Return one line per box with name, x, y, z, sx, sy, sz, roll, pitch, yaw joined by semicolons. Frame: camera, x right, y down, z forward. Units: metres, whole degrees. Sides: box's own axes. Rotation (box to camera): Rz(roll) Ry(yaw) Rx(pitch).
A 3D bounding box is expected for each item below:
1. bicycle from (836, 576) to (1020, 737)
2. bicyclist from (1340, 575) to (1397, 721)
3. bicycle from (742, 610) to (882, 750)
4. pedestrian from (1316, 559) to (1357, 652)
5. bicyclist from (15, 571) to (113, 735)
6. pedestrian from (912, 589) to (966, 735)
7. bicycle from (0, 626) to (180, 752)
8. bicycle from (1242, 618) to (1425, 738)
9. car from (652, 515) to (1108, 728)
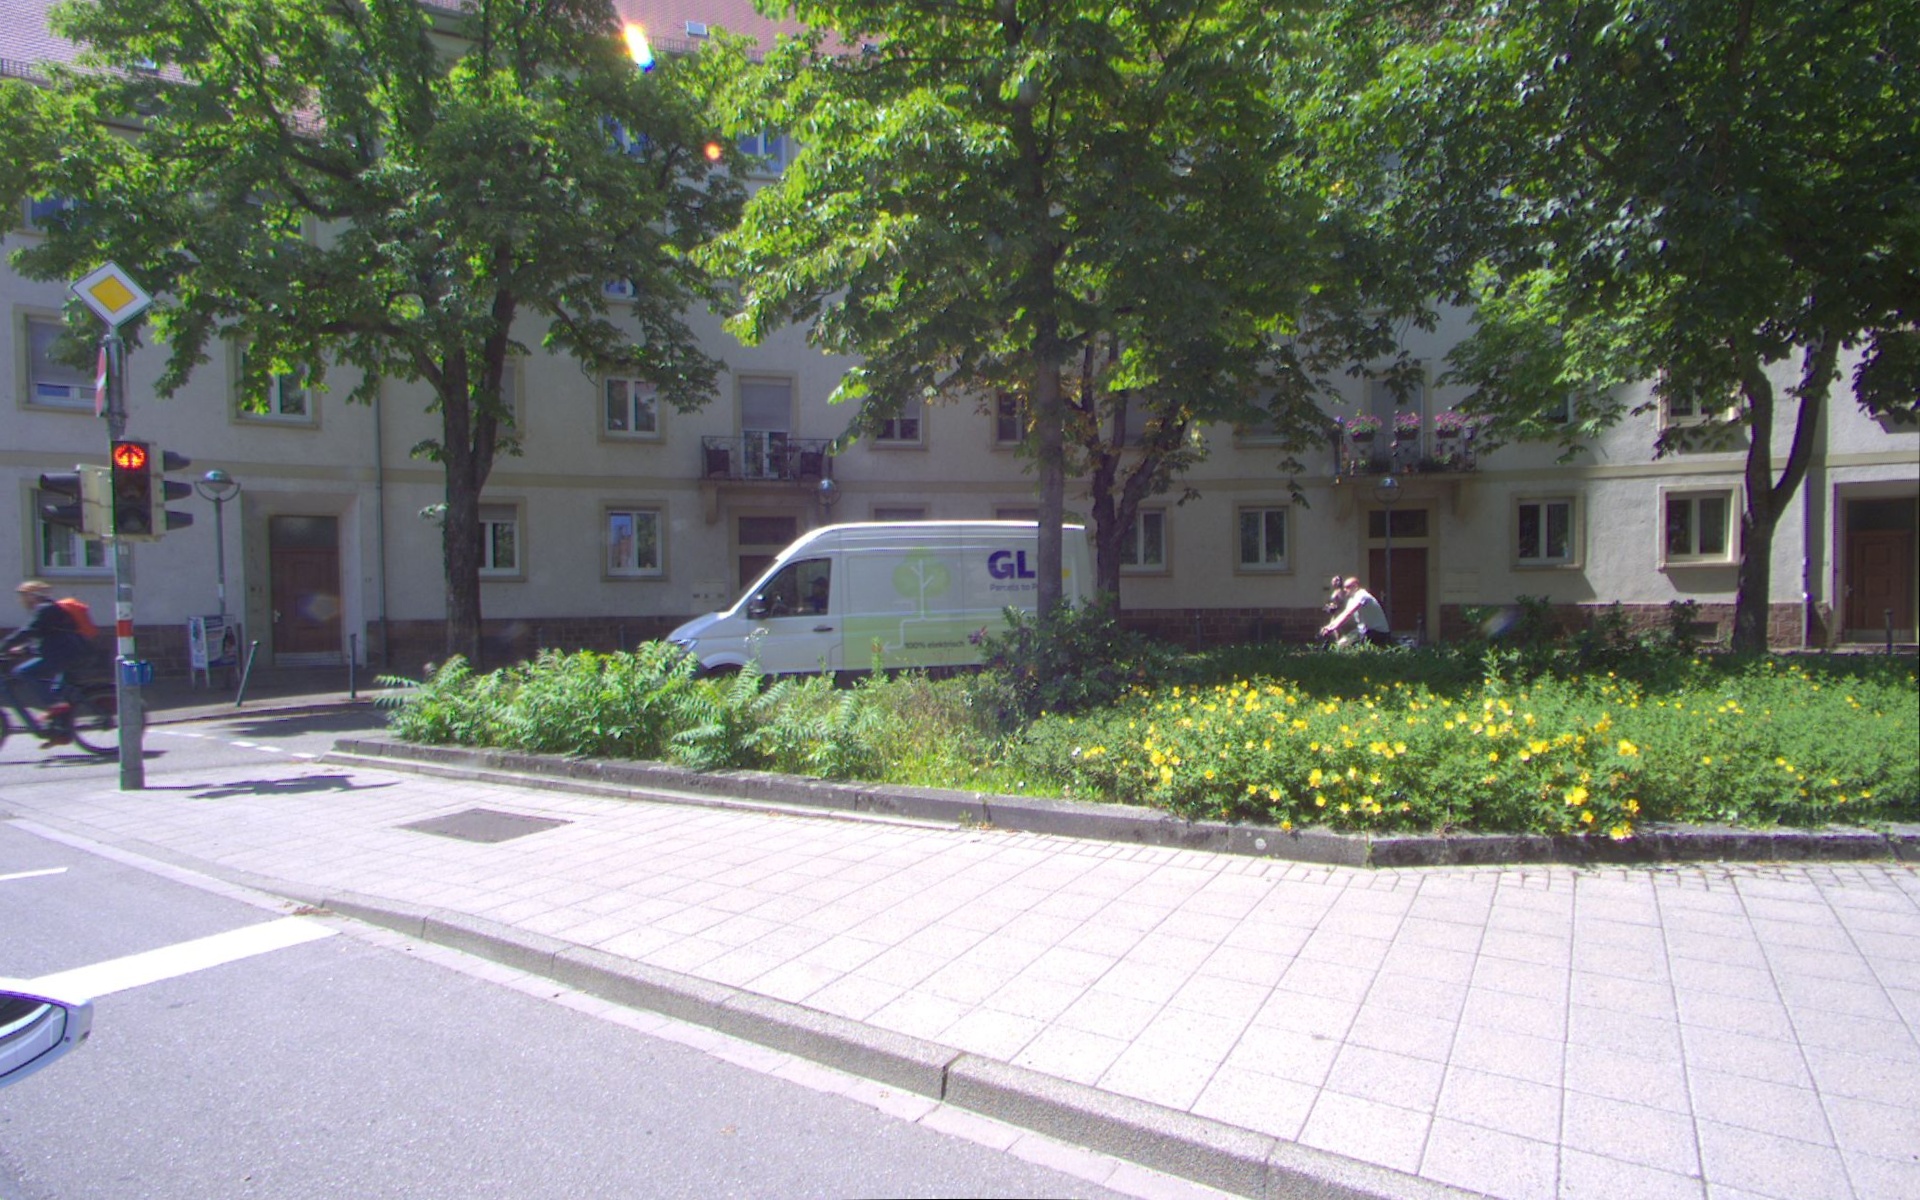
bicycle;-0.325;0.499;9.215;1.809;1.377;0.351;-1;0;33
bicyclist;5.257;0.610;12.908;0.524;1.823;0.603;-1;0;8
bicycle;-1.292;0.677;8.654;1.269;1.141;0.332;-2;-1;32
pedestrian;8.386;0.132;22.325;0.759;2.040;0.807;-1;0;14
bicyclist;-9.473;0.545;10.607;0.687;1.667;0.576;0;0;-34
pedestrian;-0.191;0.556;9.134;0.345;1.301;0.365;-1;0;32
bicycle;-9.556;0.916;10.549;2.060;1.252;0.577;0;0;-34
bicycle;4.798;0.991;12.966;2.126;1.505;0.593;-1;0;8
car;-1.050;0.262;13.681;5.738;2.624;1.999;0;0;-7
